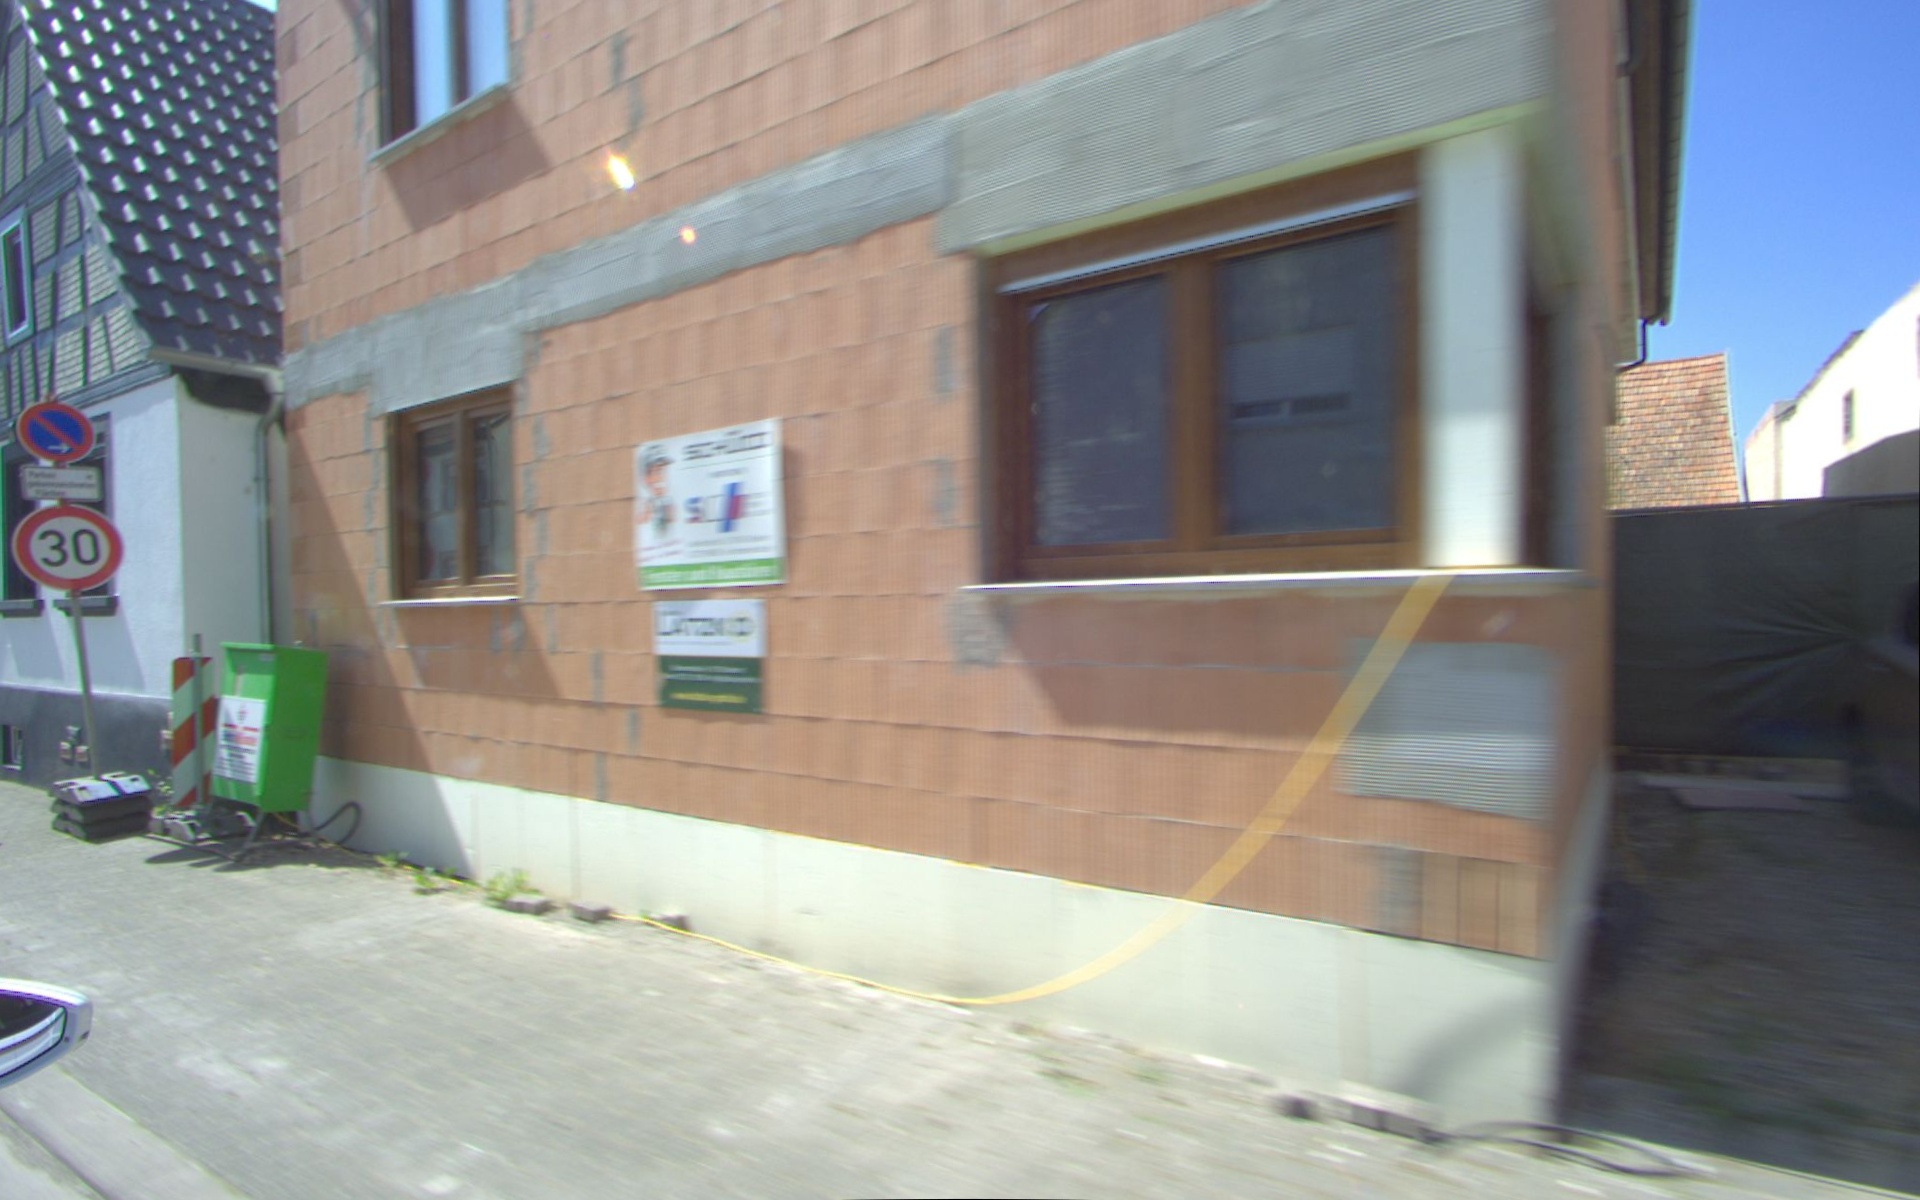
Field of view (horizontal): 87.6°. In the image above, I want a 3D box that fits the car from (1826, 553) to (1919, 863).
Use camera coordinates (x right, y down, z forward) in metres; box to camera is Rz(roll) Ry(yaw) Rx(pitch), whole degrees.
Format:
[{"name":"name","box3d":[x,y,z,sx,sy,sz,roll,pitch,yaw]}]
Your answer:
[{"name":"car","box3d":[5.294,0.520,4.051,1.841,1.527,4.083,-1,0,28]}]
